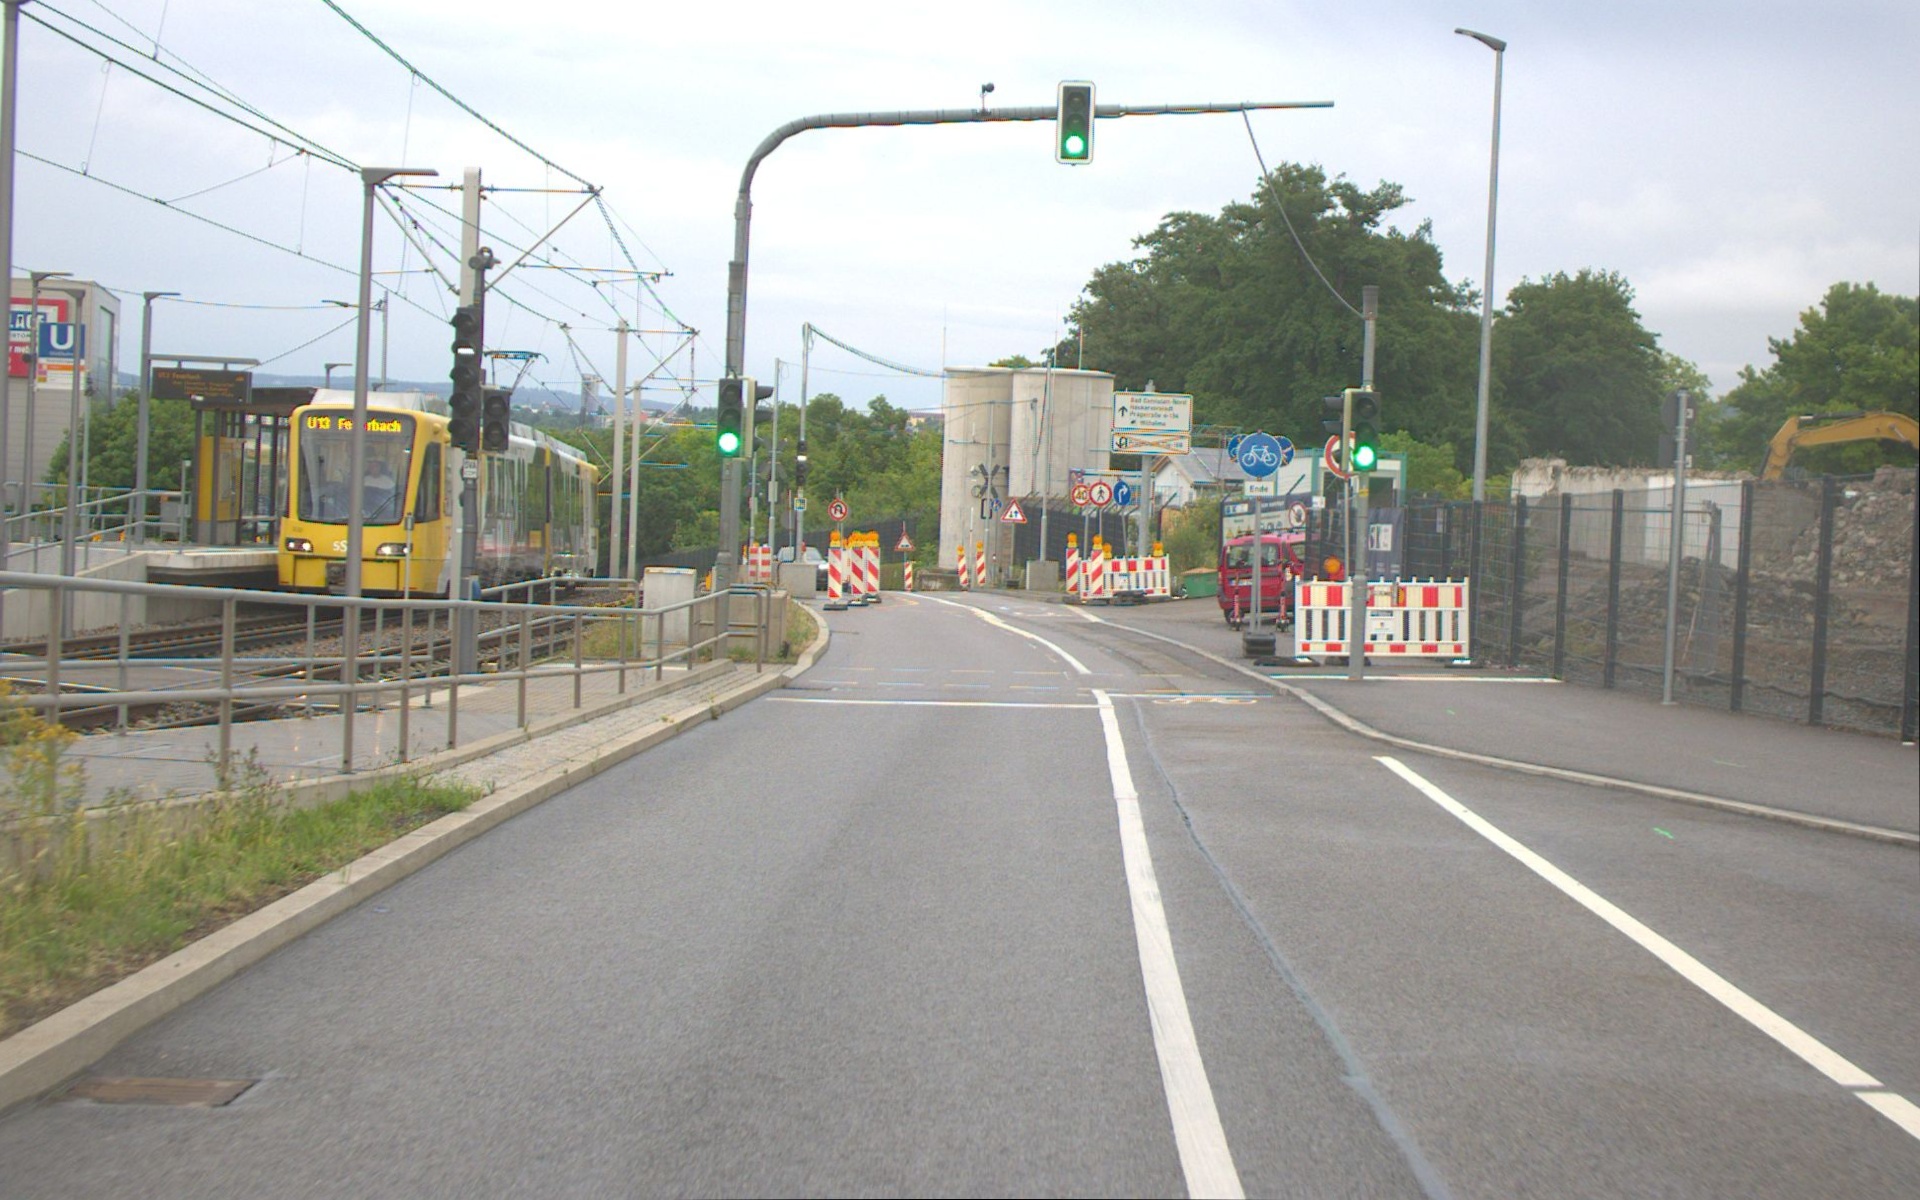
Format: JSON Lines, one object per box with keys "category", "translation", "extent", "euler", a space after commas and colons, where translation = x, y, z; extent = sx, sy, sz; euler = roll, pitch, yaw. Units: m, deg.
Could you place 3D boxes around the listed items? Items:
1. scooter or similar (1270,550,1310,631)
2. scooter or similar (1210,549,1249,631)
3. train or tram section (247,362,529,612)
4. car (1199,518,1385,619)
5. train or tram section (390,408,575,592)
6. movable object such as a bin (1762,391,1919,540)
{"category": "scooter or similar", "translation": [5.670, -0.172, 59.084], "extent": [0.615, 1.346, 1.912], "euler": [2, 1, 4]}
{"category": "scooter or similar", "translation": [4.628, -0.184, 59.053], "extent": [0.615, 1.346, 1.912], "euler": [2, 1, 4]}
{"category": "train or tram section", "translation": [-10.454, -2.018, 65.225], "extent": [2.955, 3.872, 19.575], "euler": [3, 1, -3]}
{"category": "car", "translation": [6.296, -0.585, 64.840], "extent": [1.822, 1.787, 4.401], "euler": [2, 1, 29]}
{"category": "train or tram section", "translation": [-11.485, -2.372, 84.576], "extent": [2.955, 3.872, 19.294], "euler": [3, 1, -4]}
{"category": "movable object such as a bin", "translation": [39.162, -5.494, 142.186], "extent": [11.234, 5.975, 3.490], "euler": [1, 0, 6]}
